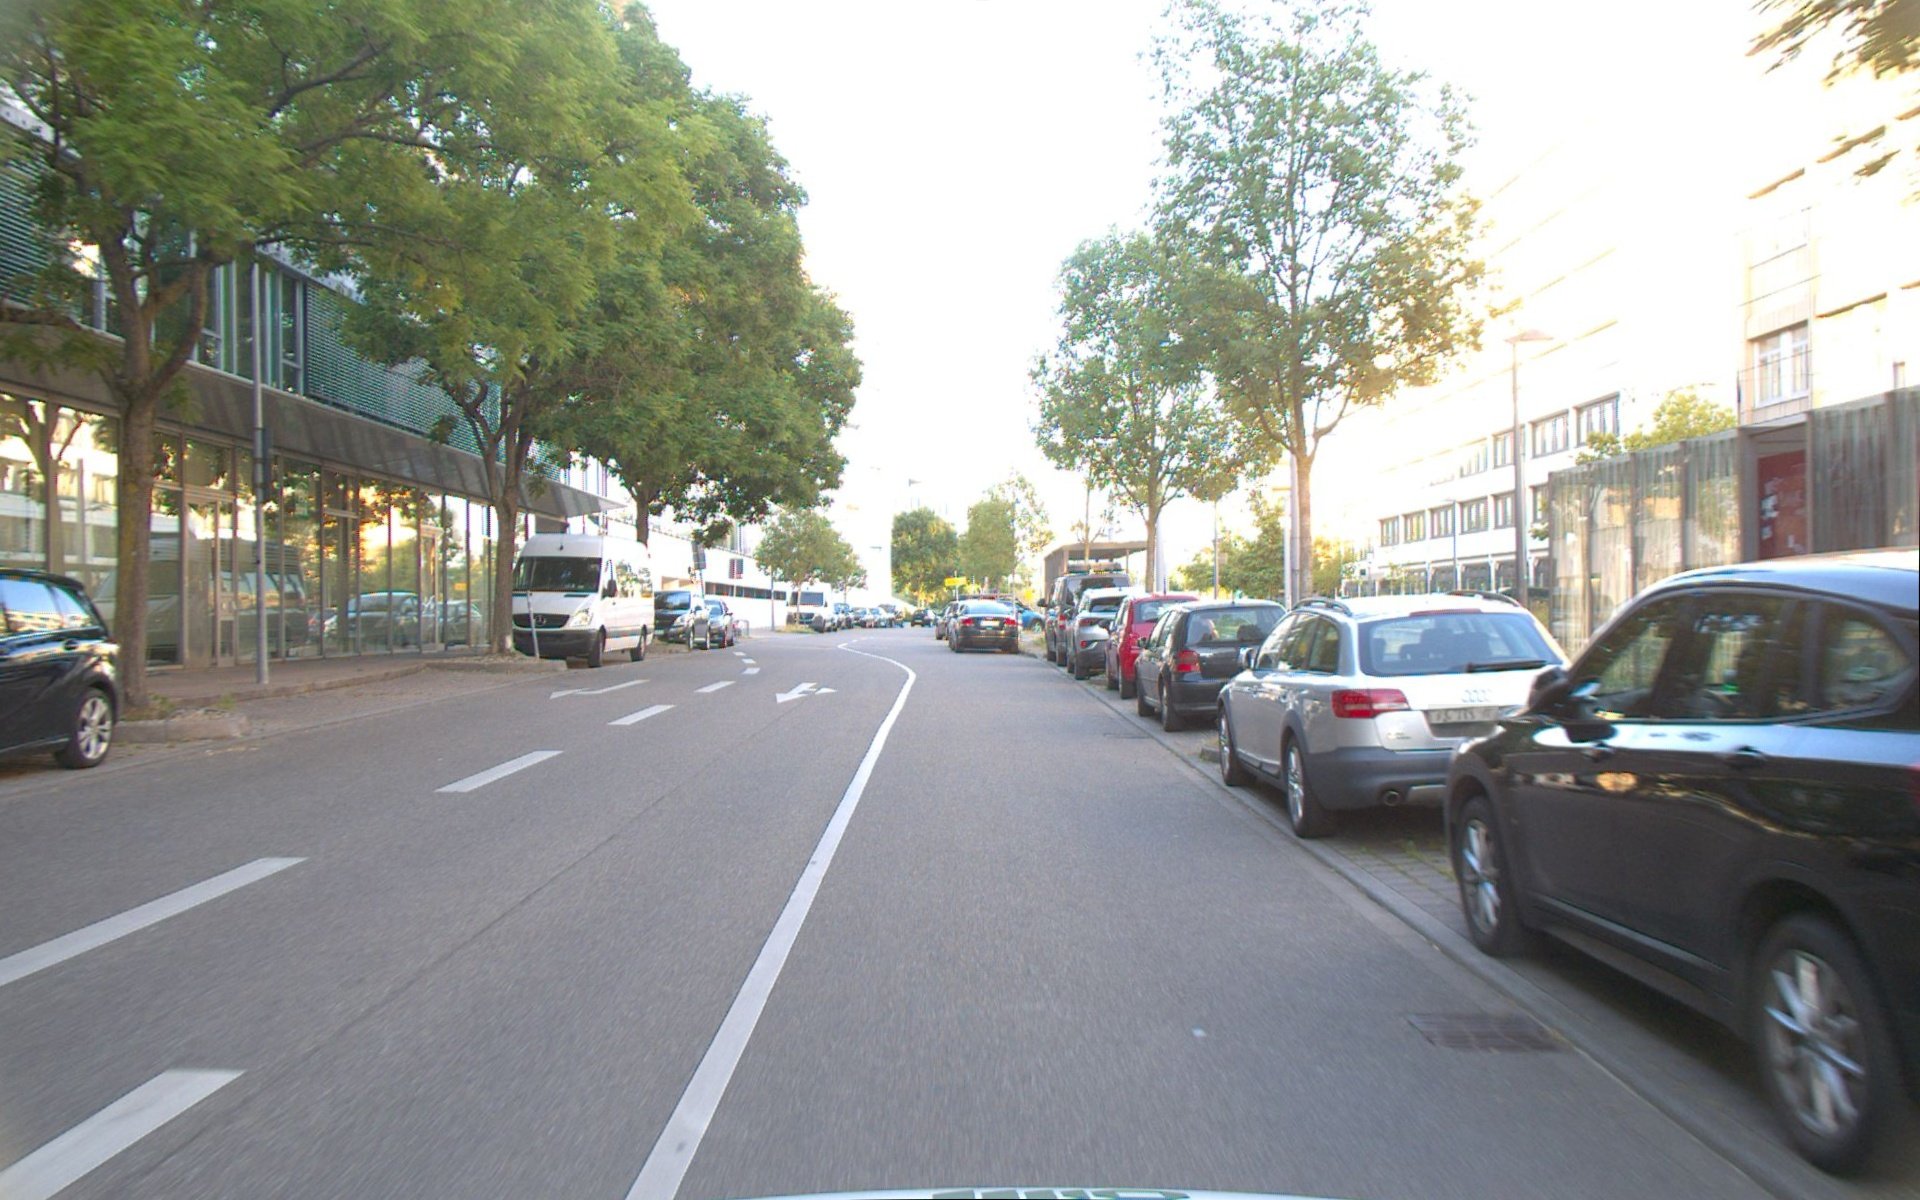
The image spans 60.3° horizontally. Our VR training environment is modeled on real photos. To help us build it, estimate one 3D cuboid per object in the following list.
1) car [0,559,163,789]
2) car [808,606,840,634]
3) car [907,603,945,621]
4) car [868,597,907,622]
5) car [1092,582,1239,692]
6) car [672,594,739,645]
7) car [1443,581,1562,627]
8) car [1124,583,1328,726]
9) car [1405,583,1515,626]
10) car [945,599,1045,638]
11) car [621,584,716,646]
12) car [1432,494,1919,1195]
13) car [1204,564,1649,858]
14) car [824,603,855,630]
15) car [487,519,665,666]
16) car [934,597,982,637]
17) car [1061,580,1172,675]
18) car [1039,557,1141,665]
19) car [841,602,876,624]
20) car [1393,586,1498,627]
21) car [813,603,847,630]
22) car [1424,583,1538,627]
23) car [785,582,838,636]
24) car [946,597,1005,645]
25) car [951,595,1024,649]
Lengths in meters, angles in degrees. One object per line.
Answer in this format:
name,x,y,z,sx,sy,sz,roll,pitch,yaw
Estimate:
car,-7.450,0.488,11.558,1.557,1.596,4.471,3,0,-1
car,-7.675,1.093,93.189,1.721,1.465,3.897,2,0,-5
car,-2.834,1.017,137.475,1.903,1.407,4.402,2,0,16
car,-5.536,0.739,127.173,1.720,1.830,4.466,2,0,15
car,3.128,0.544,25.926,1.673,1.519,4.129,-2,0,-1
car,-7.690,0.563,50.308,1.681,1.477,4.395,0,0,-4
car,20.372,0.160,62.209,3.905,1.513,1.675,-3,0,0
car,3.061,0.591,19.795,1.673,1.477,3.999,-2,0,-1
car,20.224,0.184,66.984,3.905,1.513,1.675,-3,0,0
car,1.524,0.774,71.025,3.955,1.547,1.903,-1,-1,-36
car,-7.790,0.379,44.590,1.806,1.599,4.267,0,0,0
car,3.074,0.561,5.490,1.673,1.672,4.266,-2,0,-1
car,2.952,0.615,11.613,1.759,1.522,4.781,-4,0,1
car,-7.825,1.041,107.794,1.720,1.682,3.948,2,0,-1
car,-7.721,-0.147,34.024,2.057,2.710,6.950,0,0,0
car,-0.108,0.688,65.242,1.696,1.491,3.998,2,-1,-2
car,2.885,0.488,31.275,1.672,1.608,4.479,-2,0,1
car,2.880,0.245,37.540,1.768,2.214,4.734,-2,0,-1
car,-7.123,0.903,116.308,1.686,1.483,4.274,2,0,6
car,20.390,0.263,69.559,3.905,1.513,1.675,-3,0,0
car,-7.955,1.010,101.732,1.720,1.588,4.043,2,0,0
car,20.327,0.184,64.615,3.905,1.513,1.675,-3,0,0
car,-7.731,0.449,86.669,1.918,2.662,6.893,2,0,1
car,0.461,0.665,53.413,1.642,1.477,4.184,0,0,-3
car,0.745,0.598,47.455,1.751,1.477,4.512,0,0,-3
